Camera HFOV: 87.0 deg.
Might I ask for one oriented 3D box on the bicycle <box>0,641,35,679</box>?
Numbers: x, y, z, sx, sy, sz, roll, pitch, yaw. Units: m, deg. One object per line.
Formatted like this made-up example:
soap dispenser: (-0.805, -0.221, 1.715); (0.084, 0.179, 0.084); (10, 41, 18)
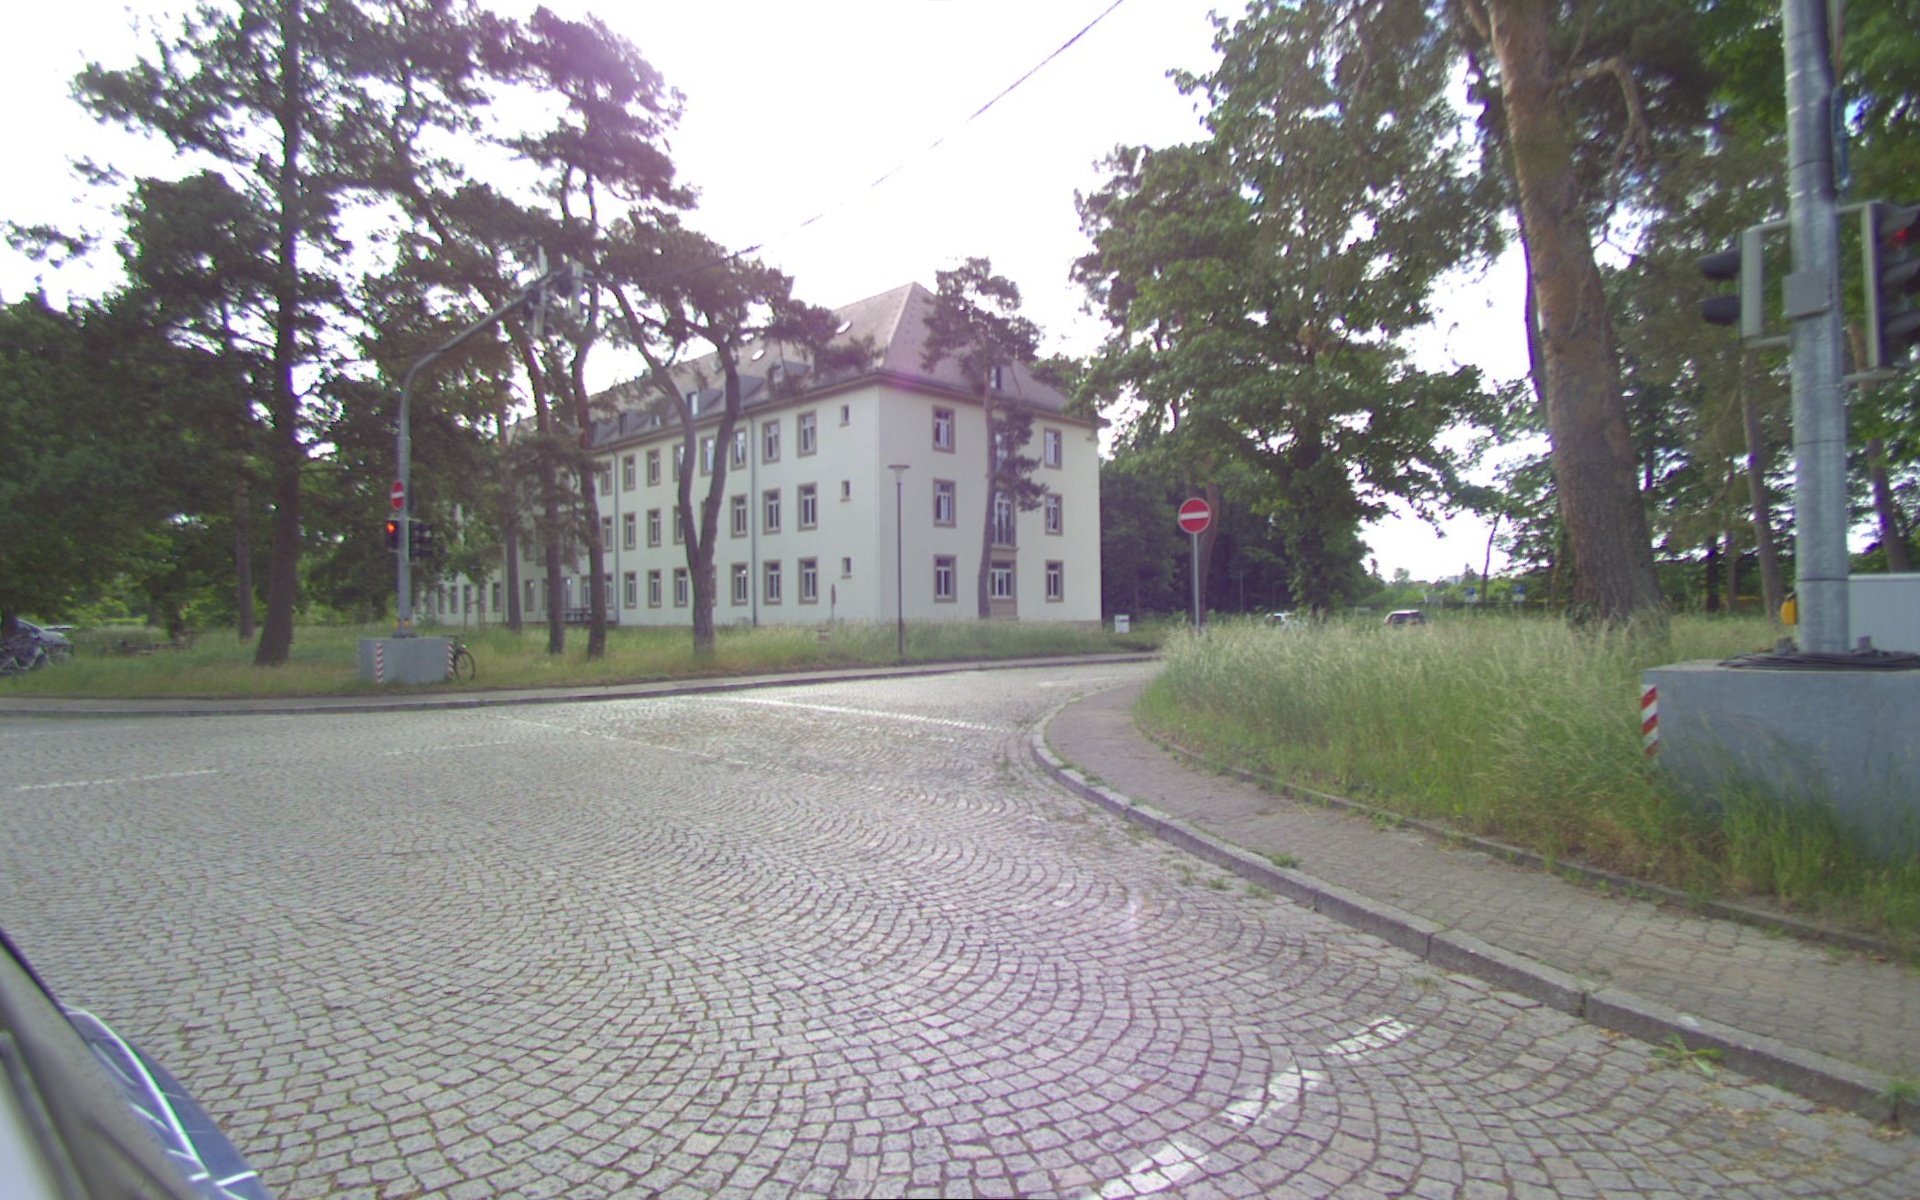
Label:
bicycle: (-28.255, 1.796, 29.795); (0.497, 1.046, 1.438); (-1, 1, 39)

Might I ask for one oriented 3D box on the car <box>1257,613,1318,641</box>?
car: (19.829, 1.606, 61.195); (3.995, 1.622, 1.719); (0, 0, -42)

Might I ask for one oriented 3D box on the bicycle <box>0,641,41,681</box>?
bicycle: (-27.135, 1.756, 28.739); (0.497, 1.046, 1.438); (-1, 1, 39)

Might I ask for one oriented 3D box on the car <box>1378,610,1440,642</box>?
car: (24.633, 1.417, 55.507); (3.997, 1.622, 1.718); (0, 0, -44)

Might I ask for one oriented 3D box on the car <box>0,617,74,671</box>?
car: (-36.896, 1.715, 37.951); (2.028, 1.931, 5.118); (-2, 0, 30)

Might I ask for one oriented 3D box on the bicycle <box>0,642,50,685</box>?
bicycle: (-25.475, 1.709, 27.170); (0.497, 1.046, 1.438); (-1, 1, 39)

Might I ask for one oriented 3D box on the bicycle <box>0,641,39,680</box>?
bicycle: (-27.850, 1.773, 29.464); (0.497, 1.046, 1.438); (-1, 1, 39)

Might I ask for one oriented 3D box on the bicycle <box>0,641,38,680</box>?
bicycle: (-27.514, 1.760, 29.053); (0.497, 1.046, 1.438); (-1, 1, 39)

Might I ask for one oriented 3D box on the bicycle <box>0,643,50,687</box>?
bicycle: (-24.385, 1.677, 25.967); (0.497, 1.046, 1.438); (-1, 1, 39)

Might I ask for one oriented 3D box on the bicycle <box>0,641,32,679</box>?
bicycle: (-28.632, 1.810, 30.087); (0.497, 1.046, 1.438); (-1, 1, 39)

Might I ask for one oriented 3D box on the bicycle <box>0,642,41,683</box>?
bicycle: (-26.373, 1.746, 27.909); (0.497, 1.046, 1.438); (-1, 1, 39)

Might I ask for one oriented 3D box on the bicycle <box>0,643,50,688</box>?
bicycle: (-23.858, 1.646, 25.367); (0.497, 1.046, 1.439); (-2, 1, 36)

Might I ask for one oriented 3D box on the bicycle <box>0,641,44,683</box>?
bicycle: (-26.016, 1.708, 27.605); (0.497, 1.046, 1.438); (-1, 1, 39)

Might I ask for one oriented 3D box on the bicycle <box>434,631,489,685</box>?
bicycle: (-10.570, 1.216, 21.440); (1.416, 1.082, 0.491); (-1, 1, 42)

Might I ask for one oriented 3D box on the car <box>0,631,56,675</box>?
car: (-34.115, 1.919, 36.017); (1.592, 1.426, 2.734); (-2, 1, 43)

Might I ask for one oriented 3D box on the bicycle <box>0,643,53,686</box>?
bicycle: (-25.037, 1.705, 26.782); (0.497, 1.046, 1.438); (-1, 1, 39)
